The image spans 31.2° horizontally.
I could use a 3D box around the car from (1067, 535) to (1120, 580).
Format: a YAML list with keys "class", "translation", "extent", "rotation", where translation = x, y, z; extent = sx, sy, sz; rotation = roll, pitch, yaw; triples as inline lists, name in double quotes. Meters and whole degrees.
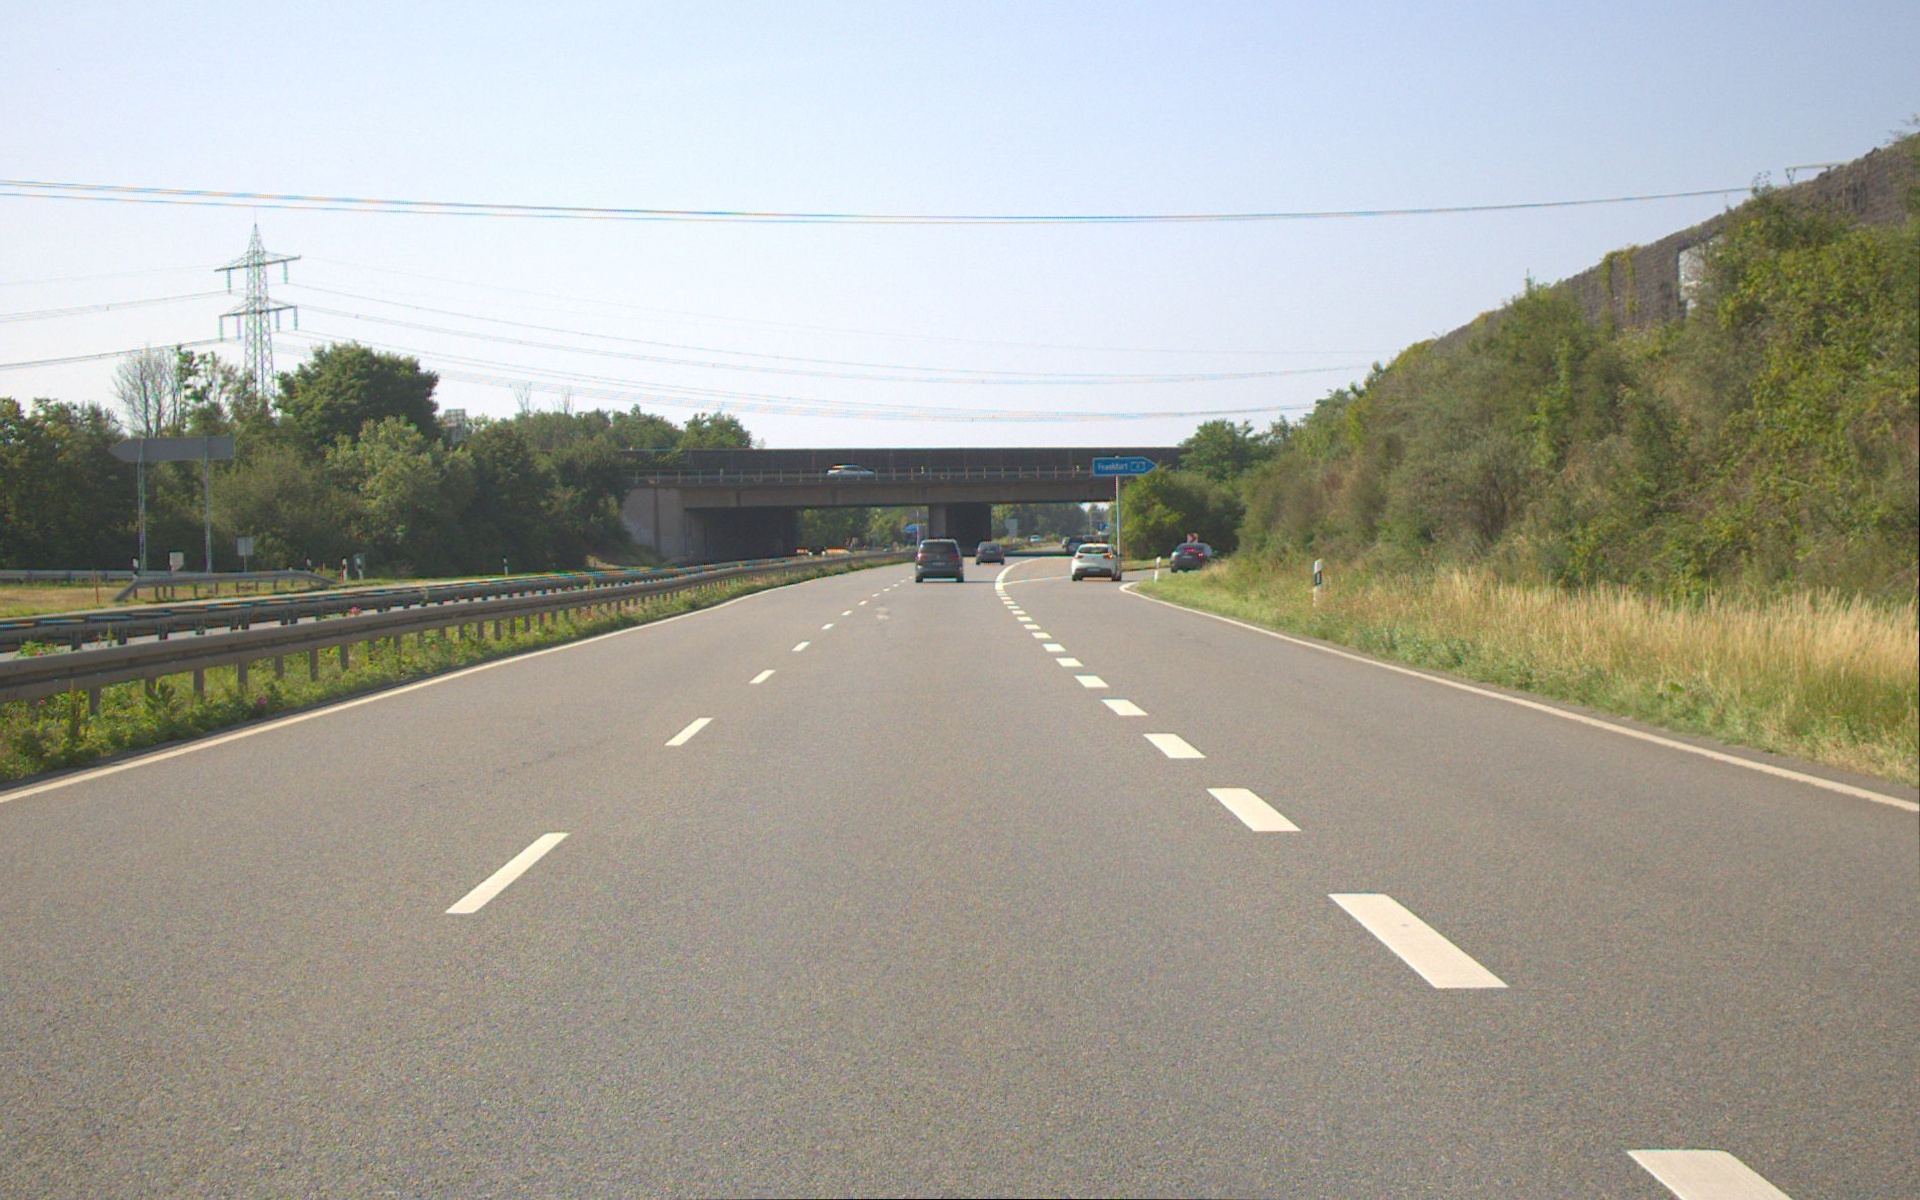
- class: "car"
  translation: [5.207, -1.664, 133.635]
  extent: [1.796, 1.659, 4.000]
  rotation: [2, 2, 5]

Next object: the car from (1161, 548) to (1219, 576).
- class: "car"
  translation: [11.004, -1.827, 164.455]
  extent: [1.903, 1.293, 3.997]
  rotation: [2, 2, 16]

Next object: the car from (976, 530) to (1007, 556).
- class: "car"
  translation: [1.987, -3.583, 215.906]
  extent: [1.850, 1.639, 4.000]
  rotation: [0, 1, 2]

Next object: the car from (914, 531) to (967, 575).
- class: "car"
  translation: [-0.726, -1.774, 130.269]
  extent: [1.850, 1.639, 4.000]
  rotation: [0, 1, 2]
